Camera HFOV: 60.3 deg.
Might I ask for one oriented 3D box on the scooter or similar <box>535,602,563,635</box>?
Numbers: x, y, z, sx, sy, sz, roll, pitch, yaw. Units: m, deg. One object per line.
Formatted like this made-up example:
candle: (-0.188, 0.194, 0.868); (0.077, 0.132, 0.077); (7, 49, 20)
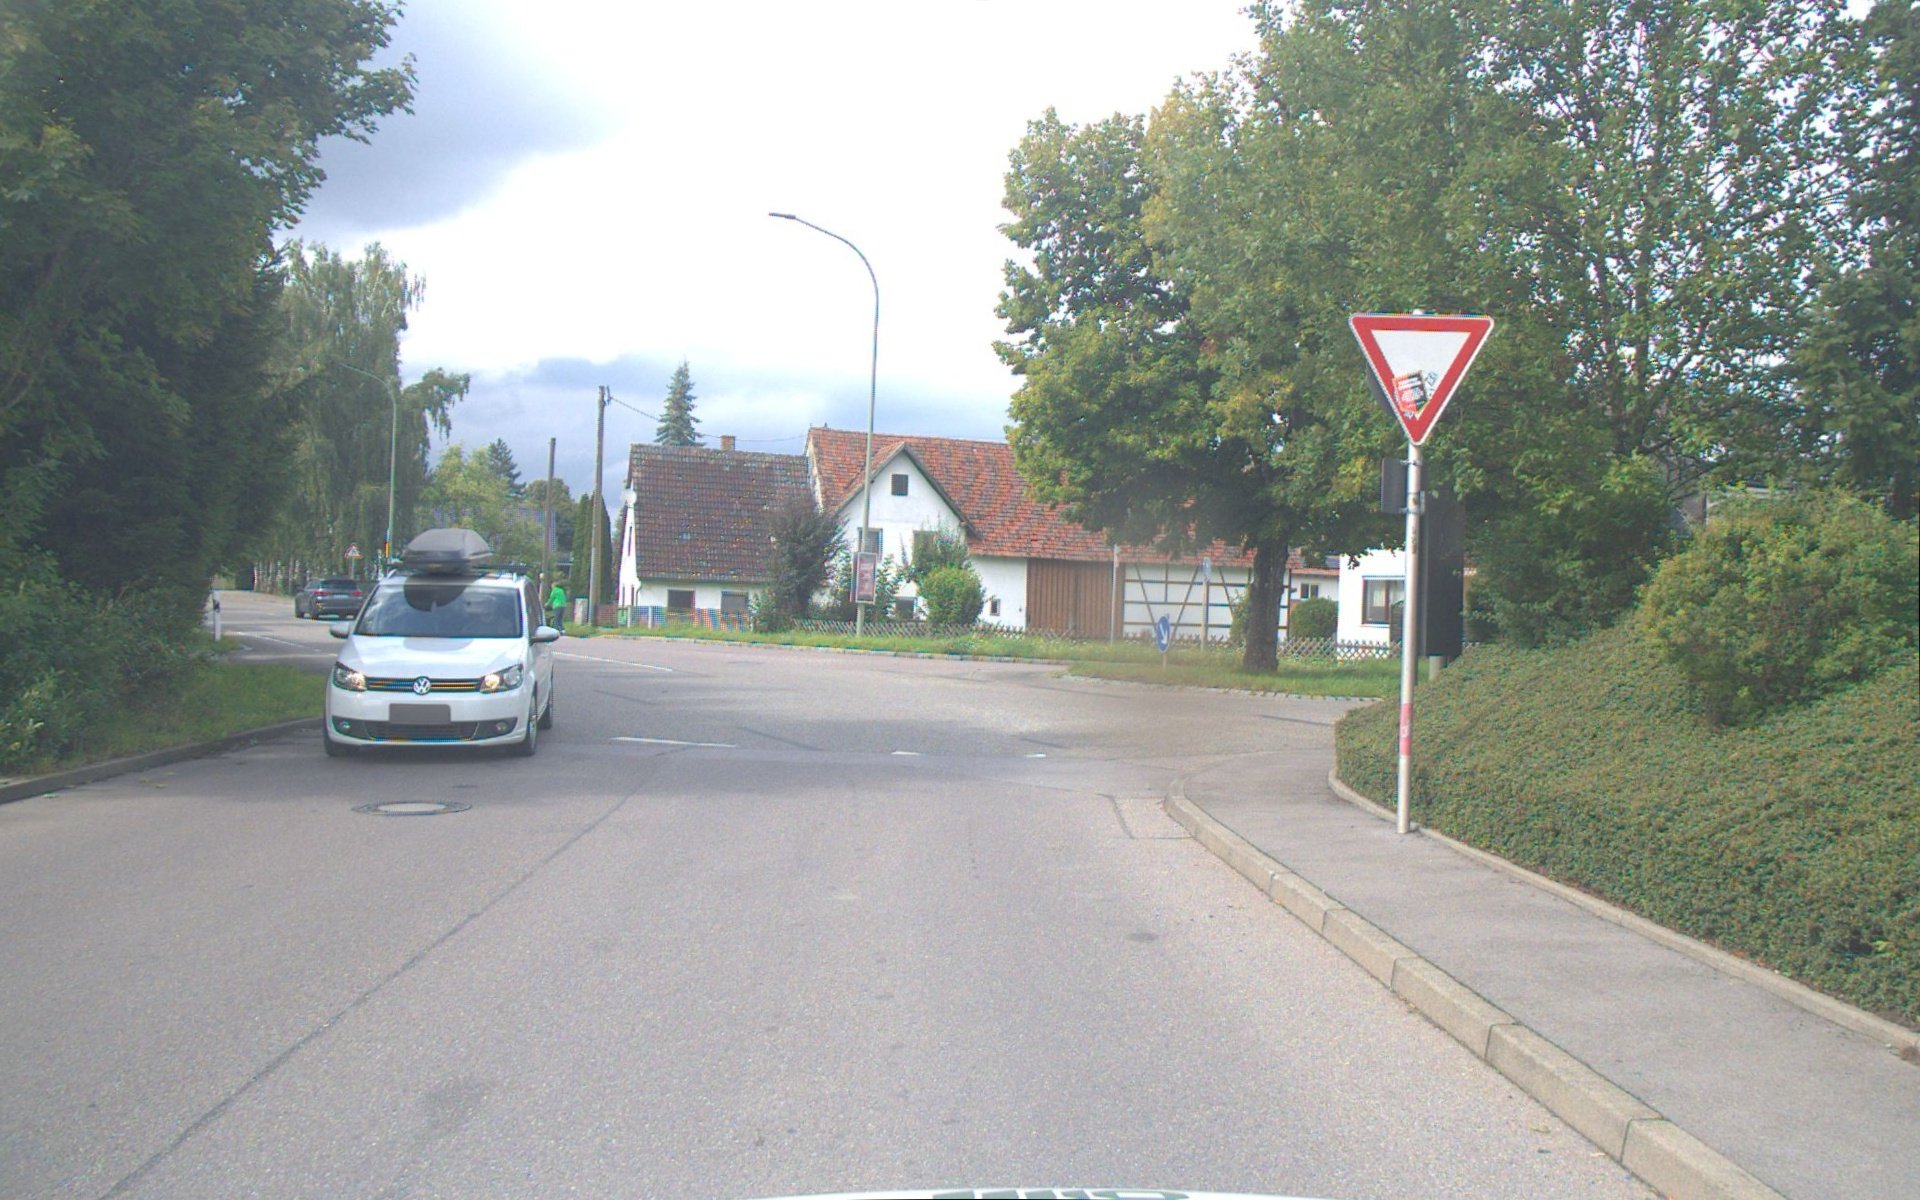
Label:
scooter or similar: (-13.336, 0.599, 53.697); (0.625, 0.964, 0.615); (7, -3, -35)

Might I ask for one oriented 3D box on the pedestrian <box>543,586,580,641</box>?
pedestrian: (-12.794, 0.428, 53.095); (0.782, 1.694, 0.703); (7, -3, -35)

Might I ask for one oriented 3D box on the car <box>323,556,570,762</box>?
car: (-4.723, 0.489, 15.719); (1.667, 1.694, 4.023); (1, 0, -9)

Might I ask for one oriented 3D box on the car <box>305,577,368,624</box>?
car: (-23.206, -0.003, 61.489); (1.967, 1.579, 3.971); (3, 0, -24)
